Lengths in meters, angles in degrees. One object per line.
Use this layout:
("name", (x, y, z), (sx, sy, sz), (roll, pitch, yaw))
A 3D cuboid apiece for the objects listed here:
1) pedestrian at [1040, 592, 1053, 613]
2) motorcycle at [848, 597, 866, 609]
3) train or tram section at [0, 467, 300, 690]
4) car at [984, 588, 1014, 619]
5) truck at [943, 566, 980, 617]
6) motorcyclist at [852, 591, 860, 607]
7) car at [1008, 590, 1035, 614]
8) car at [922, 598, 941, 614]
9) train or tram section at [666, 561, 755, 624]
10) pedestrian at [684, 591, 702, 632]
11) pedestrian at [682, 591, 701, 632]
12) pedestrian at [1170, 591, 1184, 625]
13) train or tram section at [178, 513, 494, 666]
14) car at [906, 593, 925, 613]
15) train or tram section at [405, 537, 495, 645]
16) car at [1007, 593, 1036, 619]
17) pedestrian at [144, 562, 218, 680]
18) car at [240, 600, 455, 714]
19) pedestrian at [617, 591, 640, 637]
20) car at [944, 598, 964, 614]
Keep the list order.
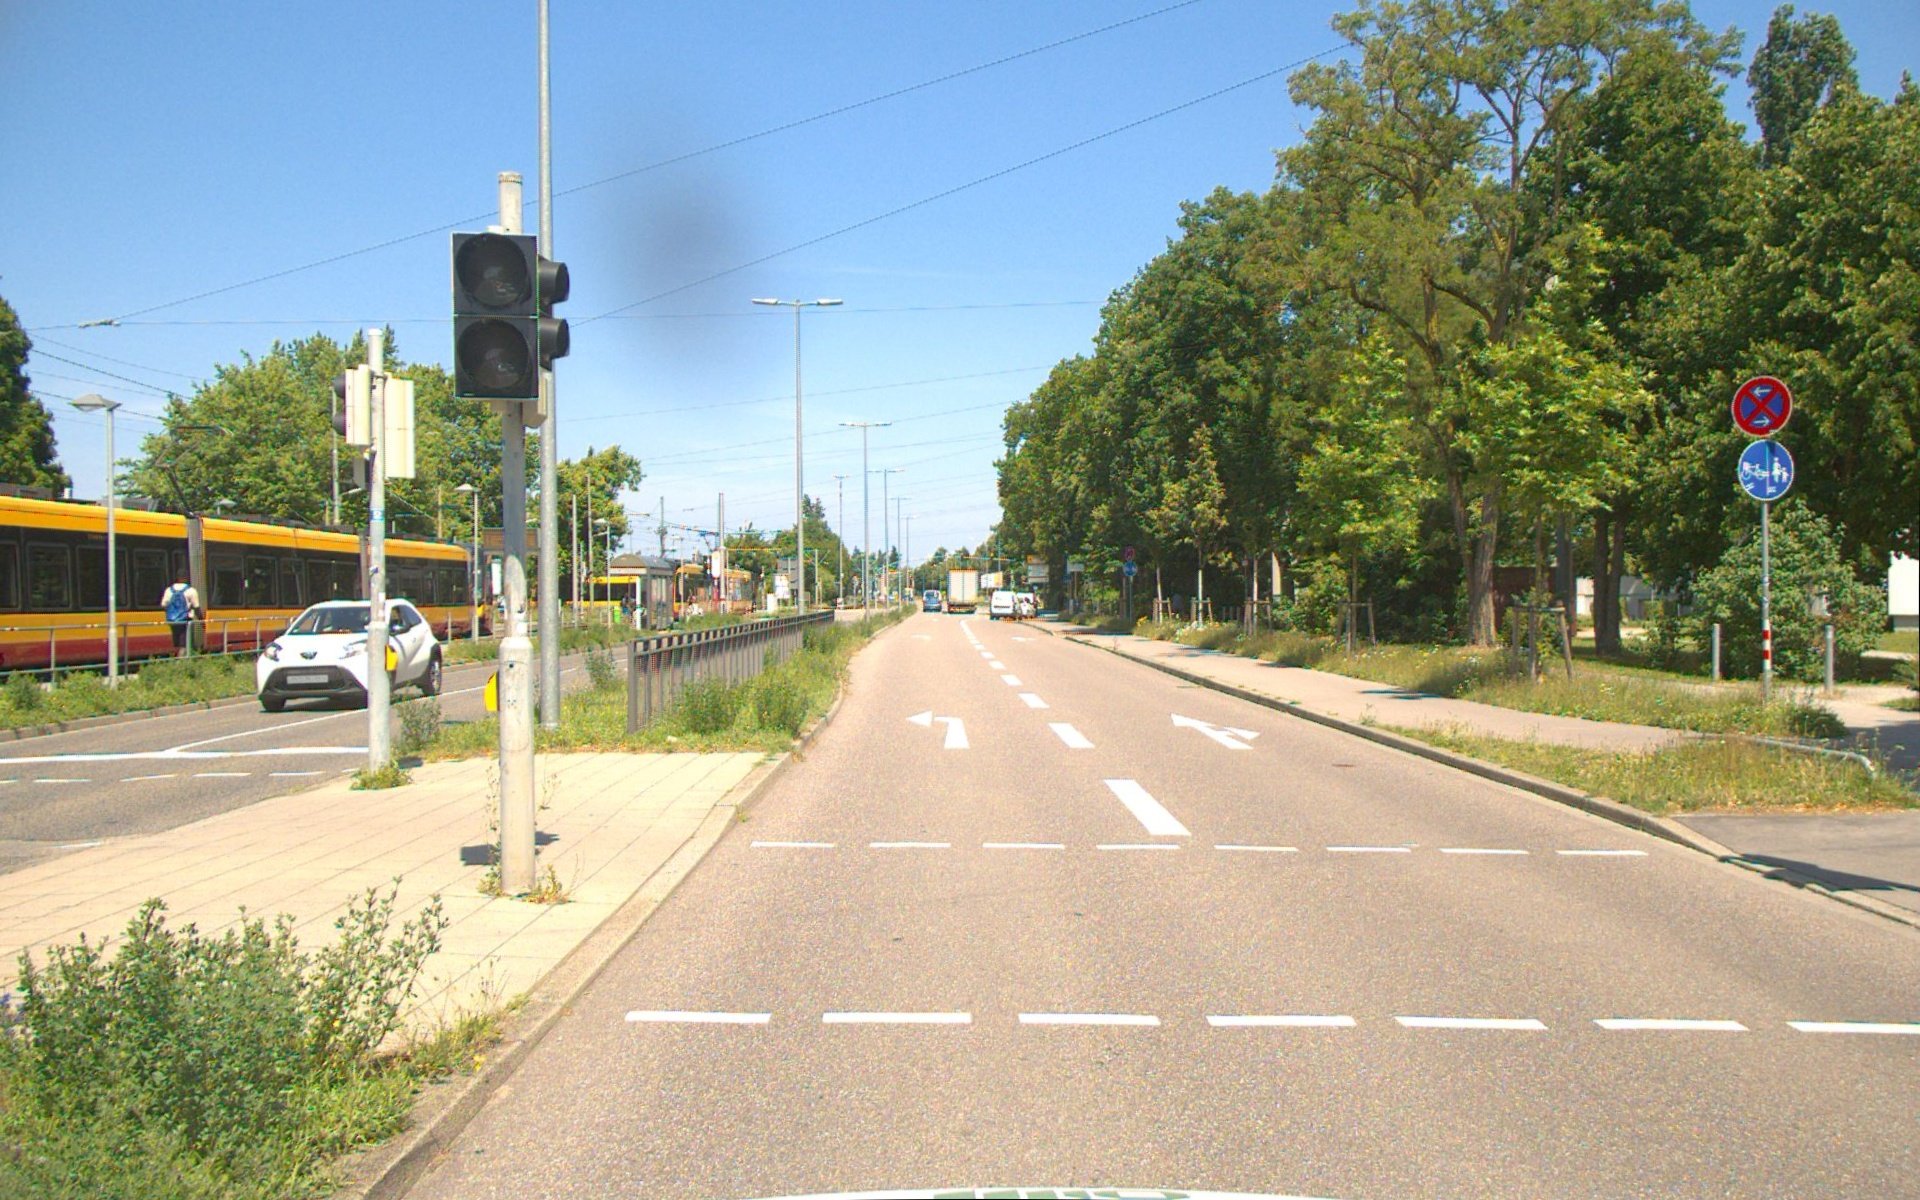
("pedestrian", (8.540, 0.278, 163.735), (1.161, 2.049, 1.213), (0, 0, -1))
("motorcycle", (-12.330, 0.369, 198.072), (2.144, 1.431, 0.845), (0, 0, -12))
("train or tram section", (-18.788, -0.395, 34.016), (3.150, 4.000, 18.498), (0, 0, 0))
("car", (2.457, 0.220, 105.550), (1.743, 1.937, 3.999), (0, 0, -1))
("truck", (0.076, -0.731, 146.066), (3.140, 4.435, 6.559), (0, 0, -1))
("motorcyclist", (-12.435, -0.124, 198.076), (0.908, 1.867, 0.847), (0, 0, -12))
("car", (4.410, 0.117, 118.855), (1.743, 1.698, 3.999), (0, 0, -1))
("car", (-2.680, 0.521, 157.837), (1.774, 1.490, 3.999), (0, 0, -1))
("train or tram section", (-16.998, -0.524, 115.202), (2.898, 3.815, 30.018), (0, 0, -2))
("pedestrian", (-13.463, 0.589, 83.441), (0.798, 2.049, 0.938), (0, 0, -1))
("pedestrian", (-13.740, 0.590, 84.730), (0.798, 2.049, 0.938), (0, 0, -1))
("pedestrian", (9.479, 0.335, 72.260), (0.591, 1.463, 0.556), (0, 0, 6))
("train or tram section", (-18.911, -0.312, 52.471), (3.150, 4.000, 18.498), (0, 0, 0))
("car", (-4.691, 0.331, 175.090), (1.953, 2.049, 3.999), (0, 0, -1))
("train or tram section", (-21.401, -0.363, 70.134), (3.163, 4.000, 18.418), (0, 0, -16))
("car", (4.186, 0.397, 112.504), (1.743, 1.698, 3.999), (0, 0, -1))
("pedestrian", (-12.630, 0.328, 26.841), (0.703, 1.808, 0.842), (4, 2, -1))
("car", (-8.930, 0.774, 24.435), (1.807, 1.521, 3.790), (0, 0, -1))
("pedestrian", (-13.847, 0.591, 69.082), (0.769, 1.901, 0.817), (0, 0, -1))
("car", (-0.585, 0.562, 153.601), (1.774, 1.490, 3.999), (0, 0, -1))
